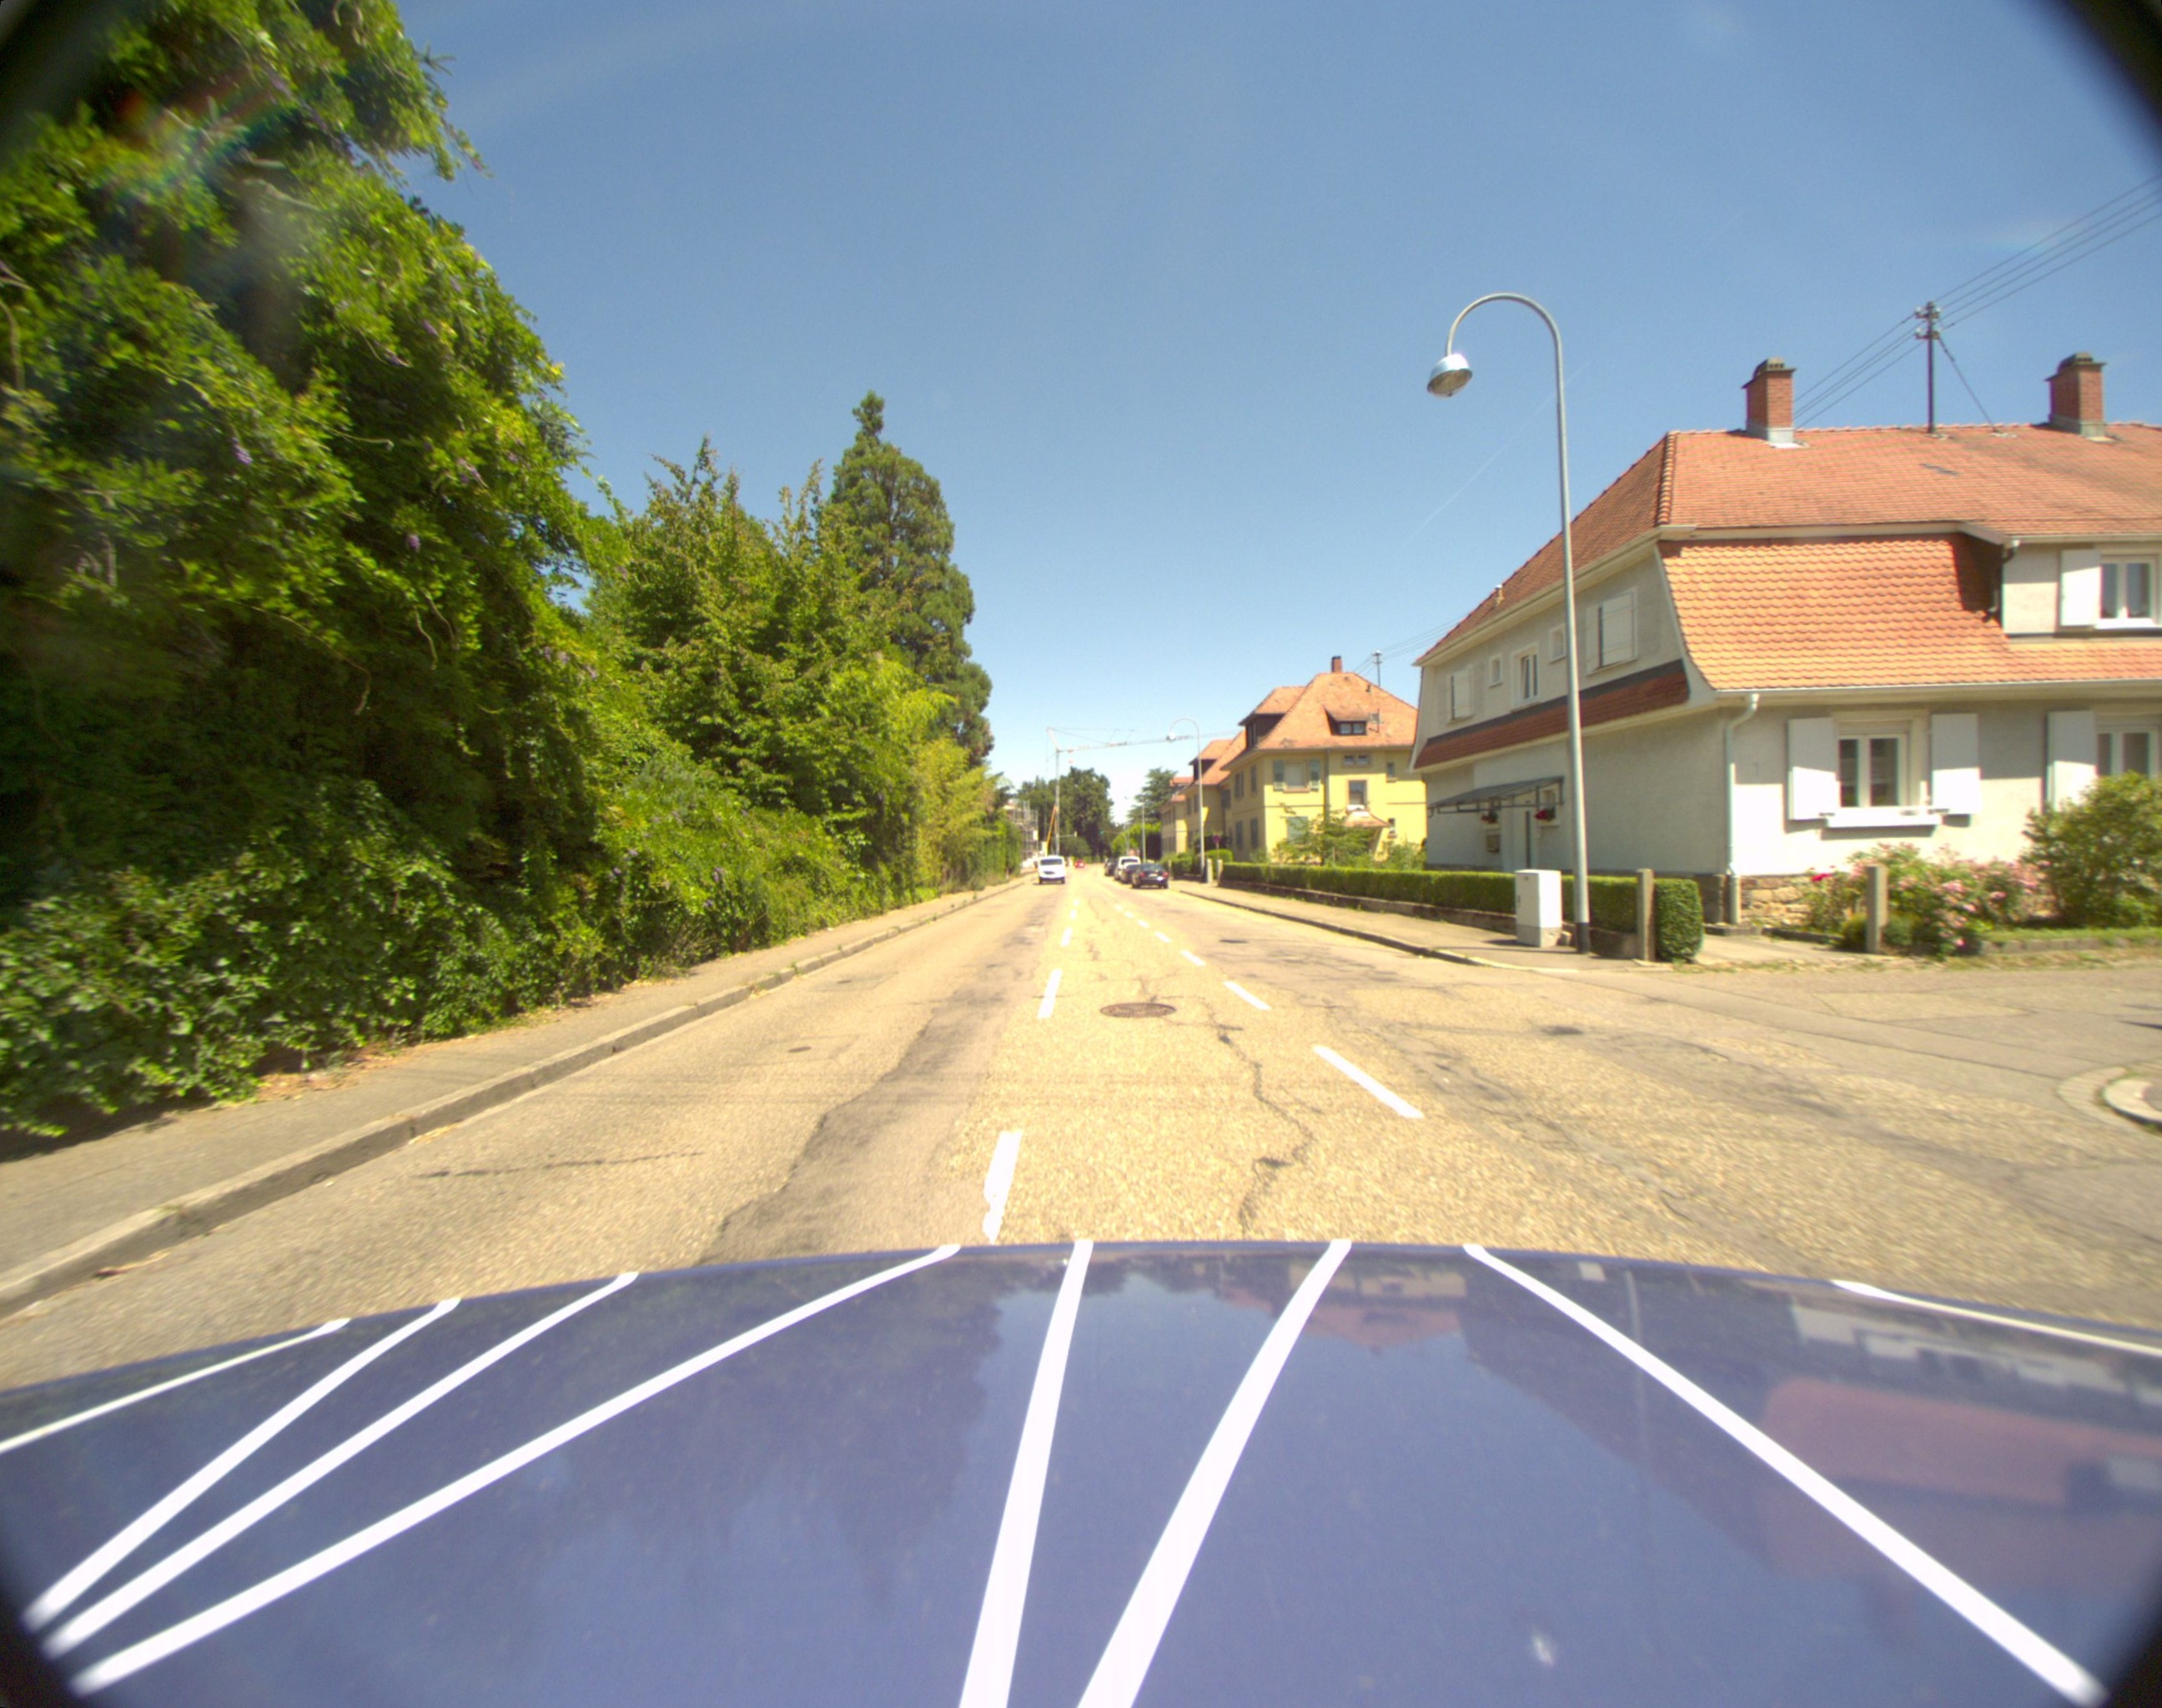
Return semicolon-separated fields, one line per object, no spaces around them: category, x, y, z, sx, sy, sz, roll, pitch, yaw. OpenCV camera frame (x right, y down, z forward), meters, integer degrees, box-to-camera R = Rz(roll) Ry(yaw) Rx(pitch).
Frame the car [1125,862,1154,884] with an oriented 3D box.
car;3.842;1.238;50.786;1.753;1.390;4.001;-1;-1;2

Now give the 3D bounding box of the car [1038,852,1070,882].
car;-1.928;0.912;54.970;1.998;2.002;4.386;-3;0;1

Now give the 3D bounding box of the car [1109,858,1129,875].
car;4.123;1.325;81.527;1.998;1.674;4.001;-3;0;3

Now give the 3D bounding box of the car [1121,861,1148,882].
car;3.898;1.269;56.148;1.753;1.427;4.000;-1;0;1

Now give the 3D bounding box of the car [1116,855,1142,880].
car;3.828;1.087;61.087;1.753;1.885;4.000;-1;-1;0

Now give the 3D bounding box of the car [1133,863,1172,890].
car;3.843;1.191;41.476;1.753;1.390;4.000;0;0;0
